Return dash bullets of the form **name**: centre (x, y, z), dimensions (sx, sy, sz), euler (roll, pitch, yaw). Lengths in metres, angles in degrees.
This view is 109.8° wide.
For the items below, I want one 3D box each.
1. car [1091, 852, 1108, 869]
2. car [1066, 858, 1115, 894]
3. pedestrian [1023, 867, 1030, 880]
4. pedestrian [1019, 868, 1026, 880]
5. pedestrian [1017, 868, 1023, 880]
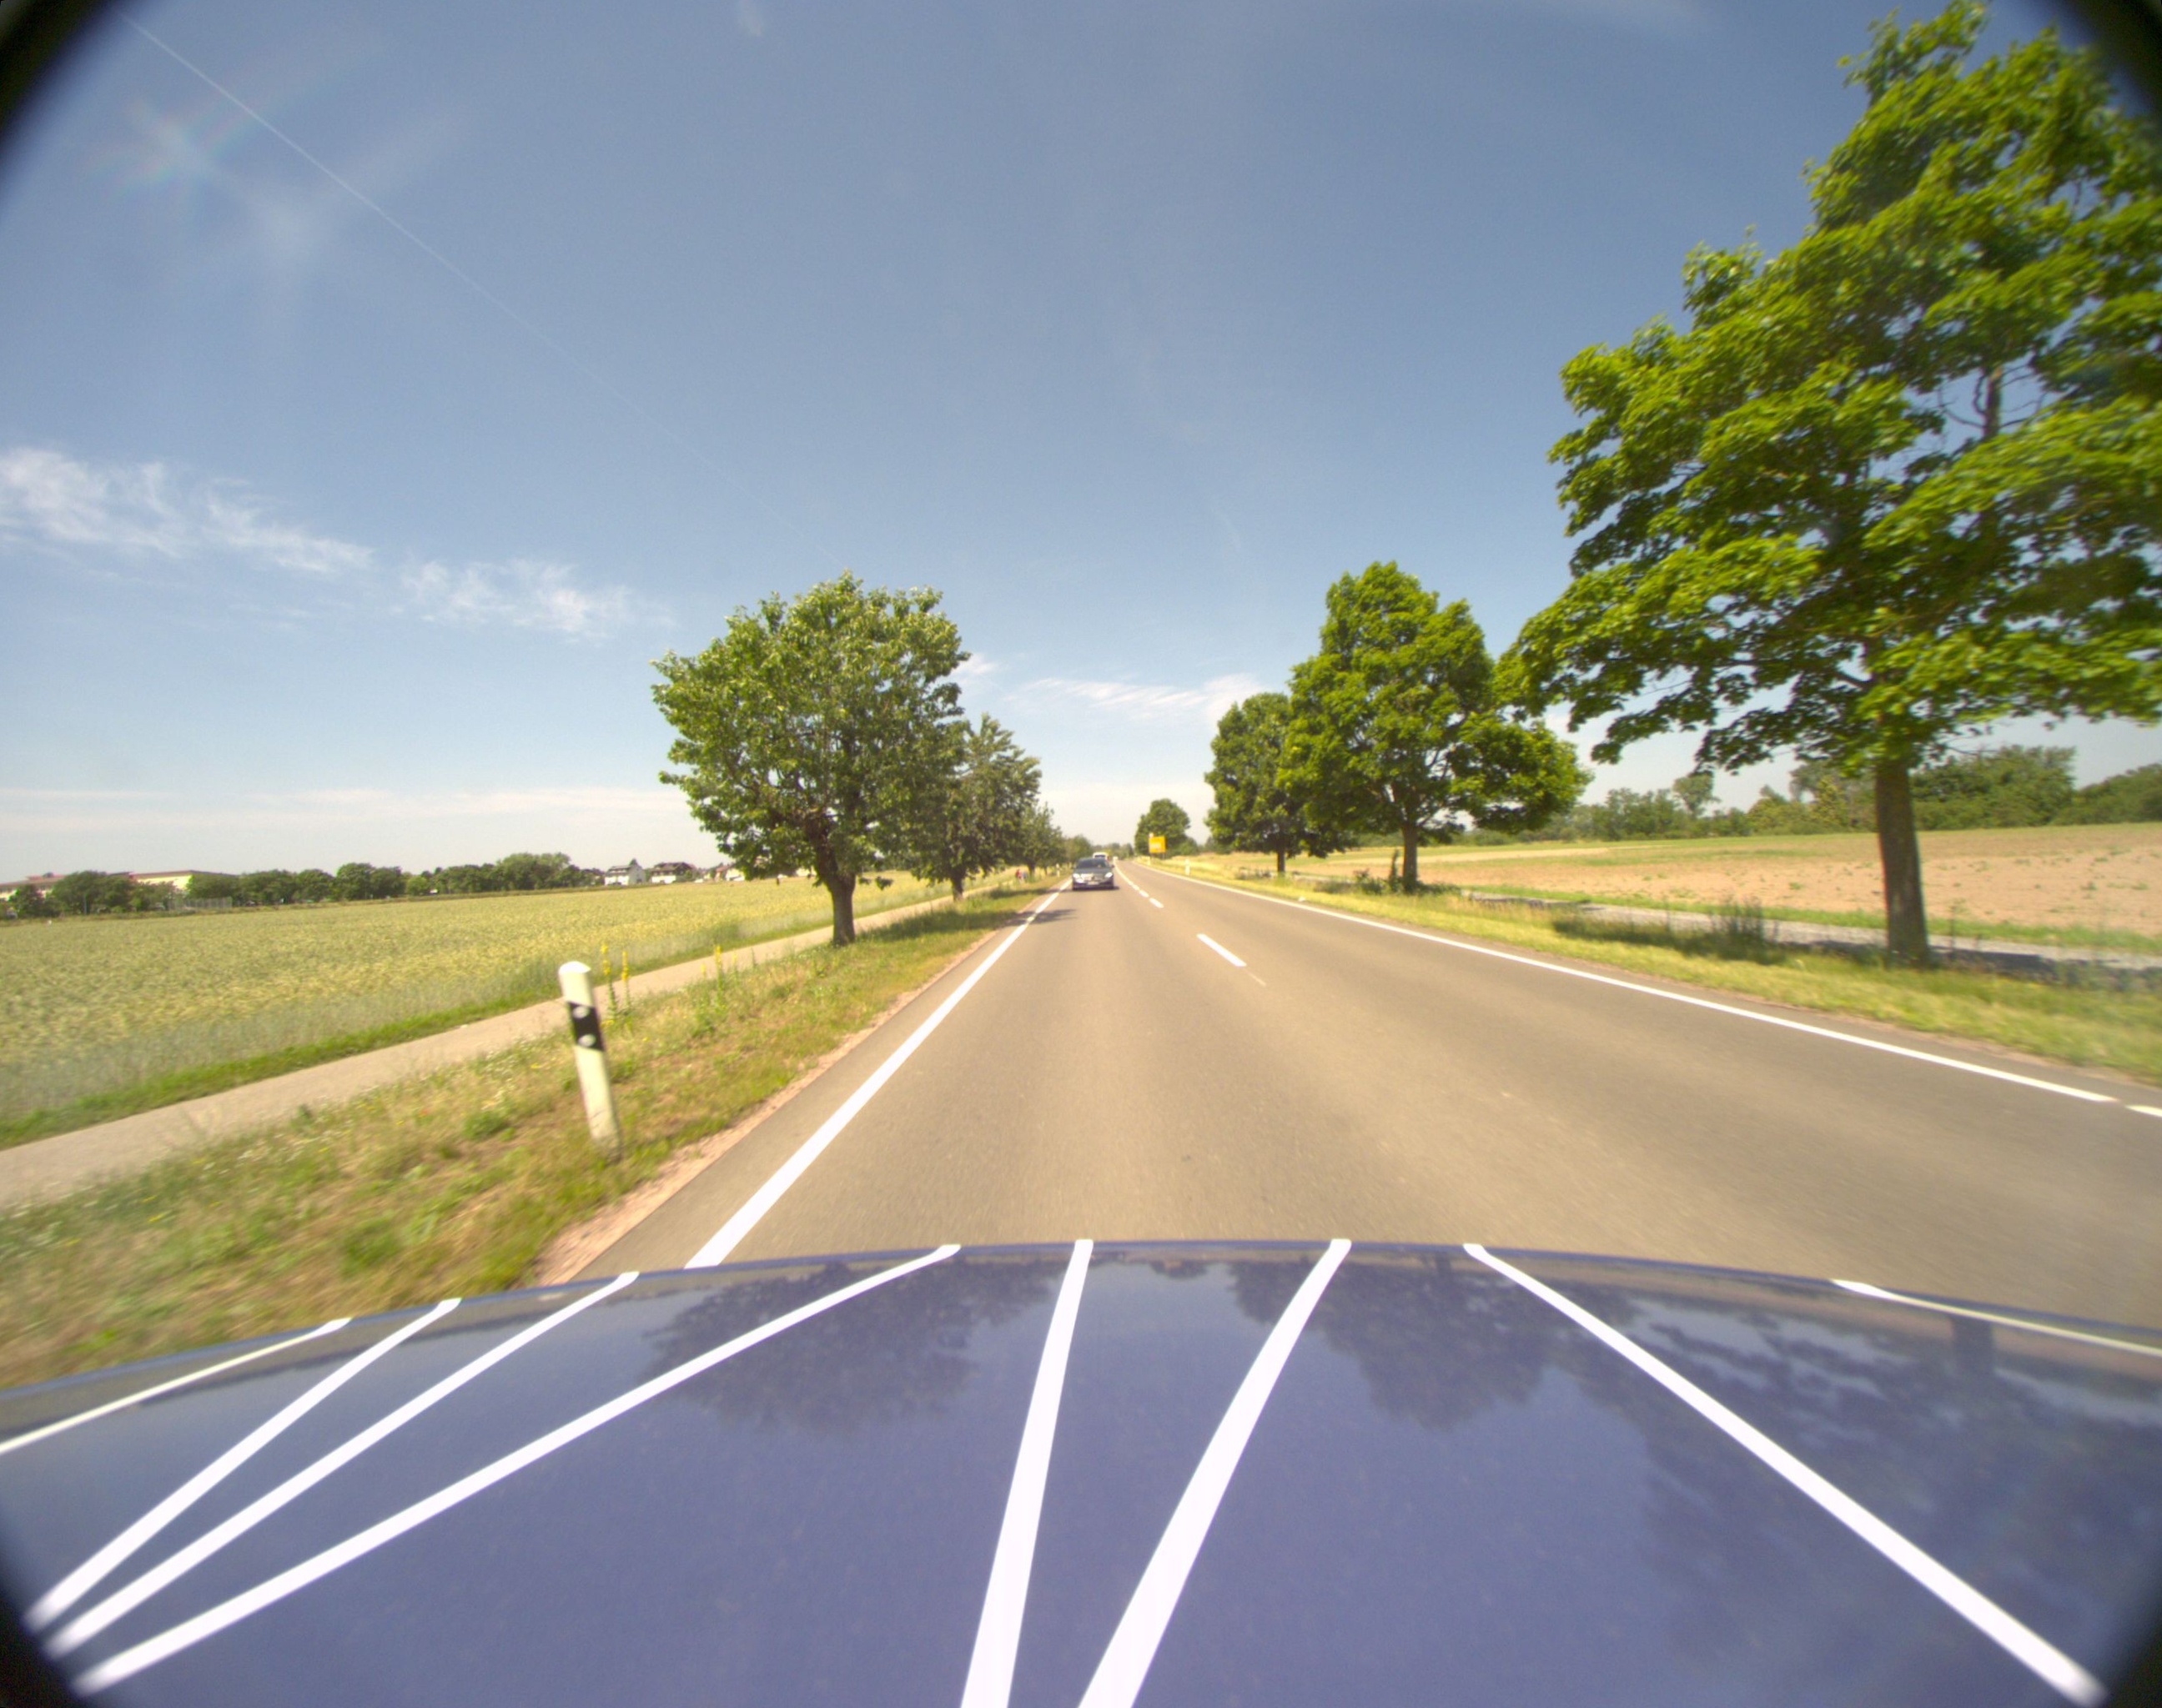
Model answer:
- **car**: centre (2.269, 0.784, 95.080), dimensions (1.998, 1.907, 4.206), euler (-3, 0, 1)
- **car**: centre (0.427, 0.896, 32.664), dimensions (1.953, 1.390, 4.000), euler (-1, 0, 1)
- **pedestrian**: centre (-5.954, 2.131, 83.050), dimensions (0.486, 1.288, 0.443), euler (-2, 1, 35)
- **pedestrian**: centre (-6.341, 2.140, 82.628), dimensions (0.486, 1.306, 0.443), euler (-2, 1, 45)
- **pedestrian**: centre (-6.699, 2.211, 83.348), dimensions (0.443, 1.288, 0.486), euler (-3, 1, -43)
